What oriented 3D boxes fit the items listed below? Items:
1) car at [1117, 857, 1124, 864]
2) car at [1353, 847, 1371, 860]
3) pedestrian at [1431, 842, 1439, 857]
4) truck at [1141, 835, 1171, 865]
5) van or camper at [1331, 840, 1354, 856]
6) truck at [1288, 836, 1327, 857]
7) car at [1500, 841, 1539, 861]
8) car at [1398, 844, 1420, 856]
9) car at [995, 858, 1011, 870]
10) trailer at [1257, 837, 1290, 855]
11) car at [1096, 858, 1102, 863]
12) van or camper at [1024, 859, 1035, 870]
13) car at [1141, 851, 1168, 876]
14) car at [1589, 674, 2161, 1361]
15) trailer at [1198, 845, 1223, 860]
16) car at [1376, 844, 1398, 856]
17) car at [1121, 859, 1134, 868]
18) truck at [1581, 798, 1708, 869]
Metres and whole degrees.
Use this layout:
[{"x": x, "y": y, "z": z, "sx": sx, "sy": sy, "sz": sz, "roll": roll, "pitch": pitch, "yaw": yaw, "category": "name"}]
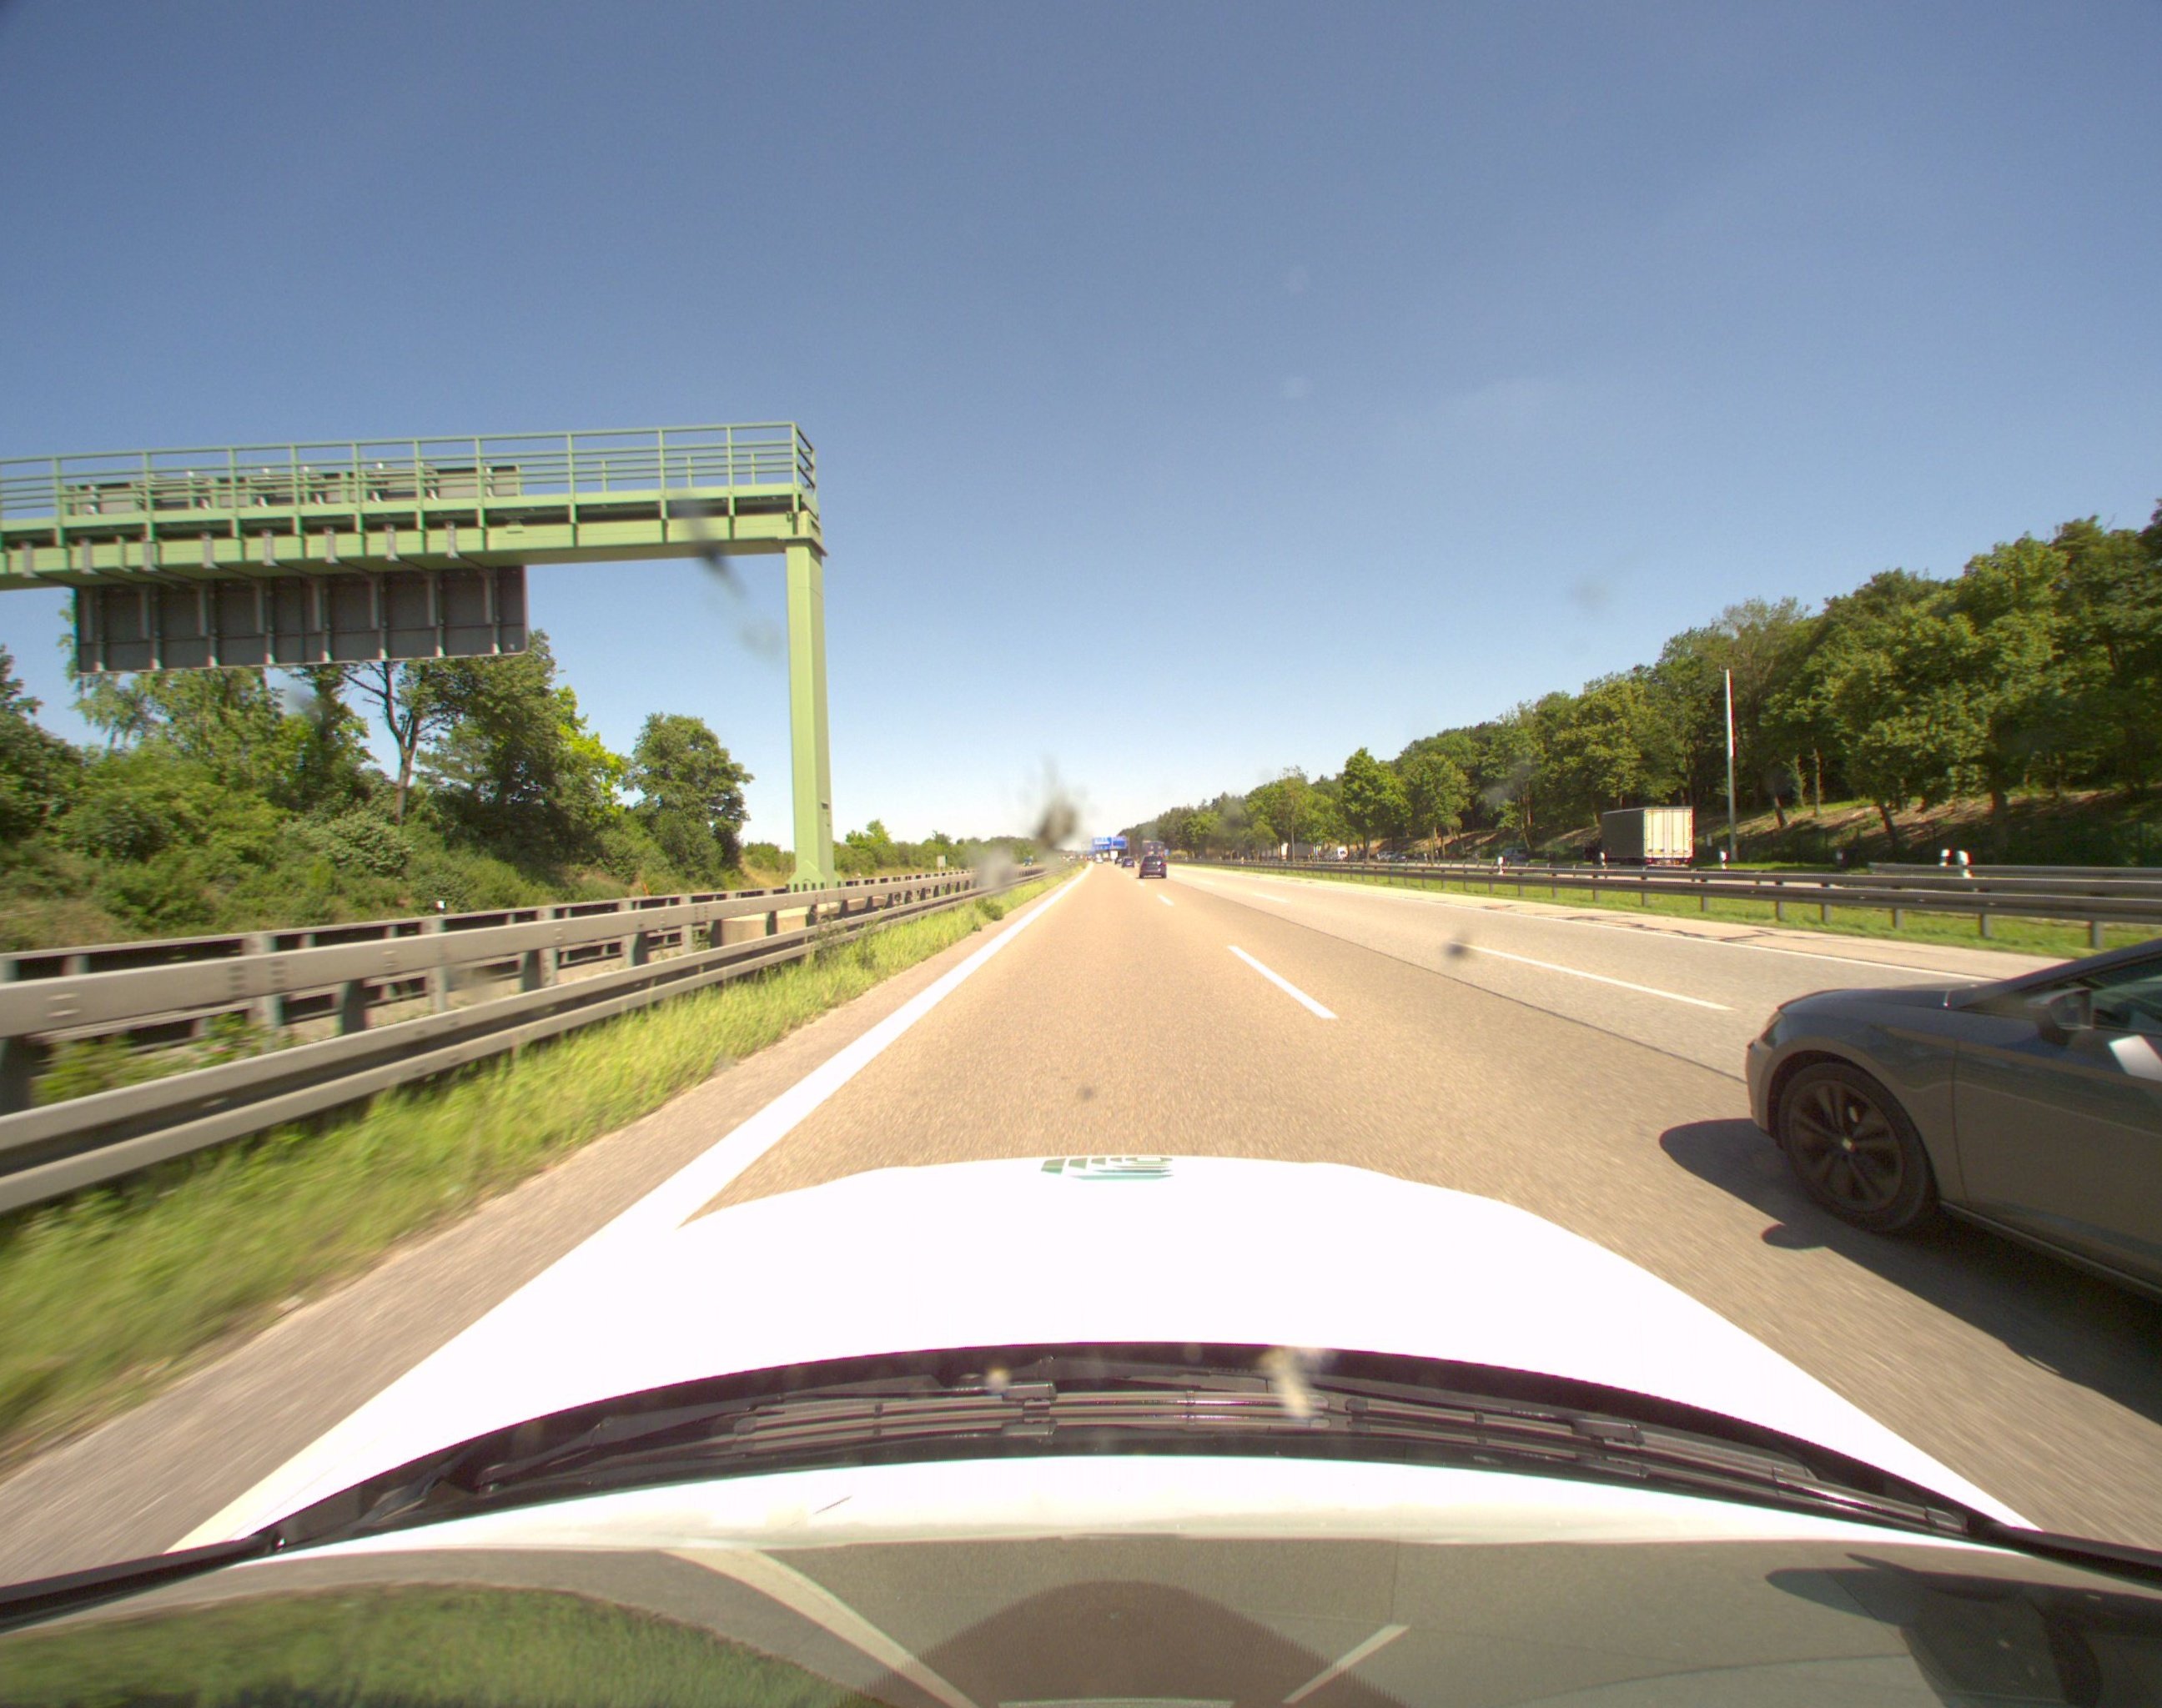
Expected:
[{"x": 8.446, "y": 1.370, "z": 175.379, "sx": 1.465, "sy": 1.398, "sz": 3.411, "roll": 1, "pitch": 0, "yaw": 2, "category": "car"}, {"x": 44.856, "y": -0.056, "z": 130.159, "sx": 1.648, "sy": 1.877, "sz": 4.808, "roll": -2, "pitch": 0, "yaw": 6, "category": "car"}, {"x": 44.044, "y": -0.592, "z": 101.319, "sx": 0.792, "sy": 1.782, "sz": 0.645, "roll": -2, "pitch": 0, "yaw": 14, "category": "pedestrian"}, {"x": 11.798, "y": -0.522, "z": 128.967, "sx": 3.766, "sy": 4.422, "sz": 14.056, "roll": -1, "pitch": 0, "yaw": 2, "category": "truck"}, {"x": 45.861, "y": -1.026, "z": 143.015, "sx": 2.195, "sy": 2.530, "sz": 5.877, "roll": -2, "pitch": 0, "yaw": 2, "category": "van or camper"}, {"x": 45.516, "y": -1.435, "z": 164.044, "sx": 2.989, "sy": 3.931, "sz": 14.443, "roll": -2, "pitch": 0, "yaw": -3, "category": "truck"}, {"x": 40.697, "y": -0.282, "z": 75.679, "sx": 1.981, "sy": 1.651, "sz": 4.331, "roll": -2, "pitch": 0, "yaw": 11, "category": "car"}, {"x": 45.793, "y": -0.488, "z": 113.822, "sx": 1.981, "sy": 1.574, "sz": 4.011, "roll": -2, "pitch": 0, "yaw": 10, "category": "car"}, {"x": -13.283, "y": 1.717, "z": 139.456, "sx": 1.986, "sy": 1.835, "sz": 5.336, "roll": -4, "pitch": 0, "yaw": 2, "category": "car"}, {"x": 43.635, "y": -1.771, "z": 185.077, "sx": 2.854, "sy": 3.796, "sz": 14.160, "roll": -1, "pitch": 0, "yaw": -6, "category": "trailer"}, {"x": 4.798, "y": 1.781, "z": 213.097, "sx": 1.465, "sy": 1.227, "sz": 3.411, "roll": -2, "pitch": 0, "yaw": 2, "category": "car"}, {"x": -12.217, "y": 2.451, "z": 194.883, "sx": 1.986, "sy": 2.392, "sz": 6.243, "roll": -3, "pitch": 0, "yaw": 1, "category": "van or camper"}, {"x": 5.139, "y": 0.633, "z": 57.363, "sx": 1.791, "sy": 1.669, "sz": 4.263, "roll": -1, "pitch": 0, "yaw": 4, "category": "car"}, {"x": 3.757, "y": 0.415, "z": 2.271, "sx": 1.659, "sy": 1.876, "sz": 4.828, "roll": -3, "pitch": 0, "yaw": 1, "category": "car"}, {"x": 36.430, "y": -0.416, "z": 229.720, "sx": 2.573, "sy": 3.915, "sz": 12.696, "roll": -1, "pitch": 0, "yaw": -12, "category": "trailer"}, {"x": 45.139, "y": -0.510, "z": 120.365, "sx": 1.649, "sy": 1.675, "sz": 4.655, "roll": -2, "pitch": 0, "yaw": 3, "category": "car"}, {"x": 6.588, "y": 1.312, "z": 116.164, "sx": 1.702, "sy": 1.155, "sz": 3.690, "roll": -2, "pitch": 0, "yaw": 2, "category": "car"}, {"x": 35.660, "y": -1.225, "z": 52.058, "sx": 3.263, "sy": 3.947, "sz": 9.383, "roll": -2, "pitch": 0, "yaw": 13, "category": "truck"}]
